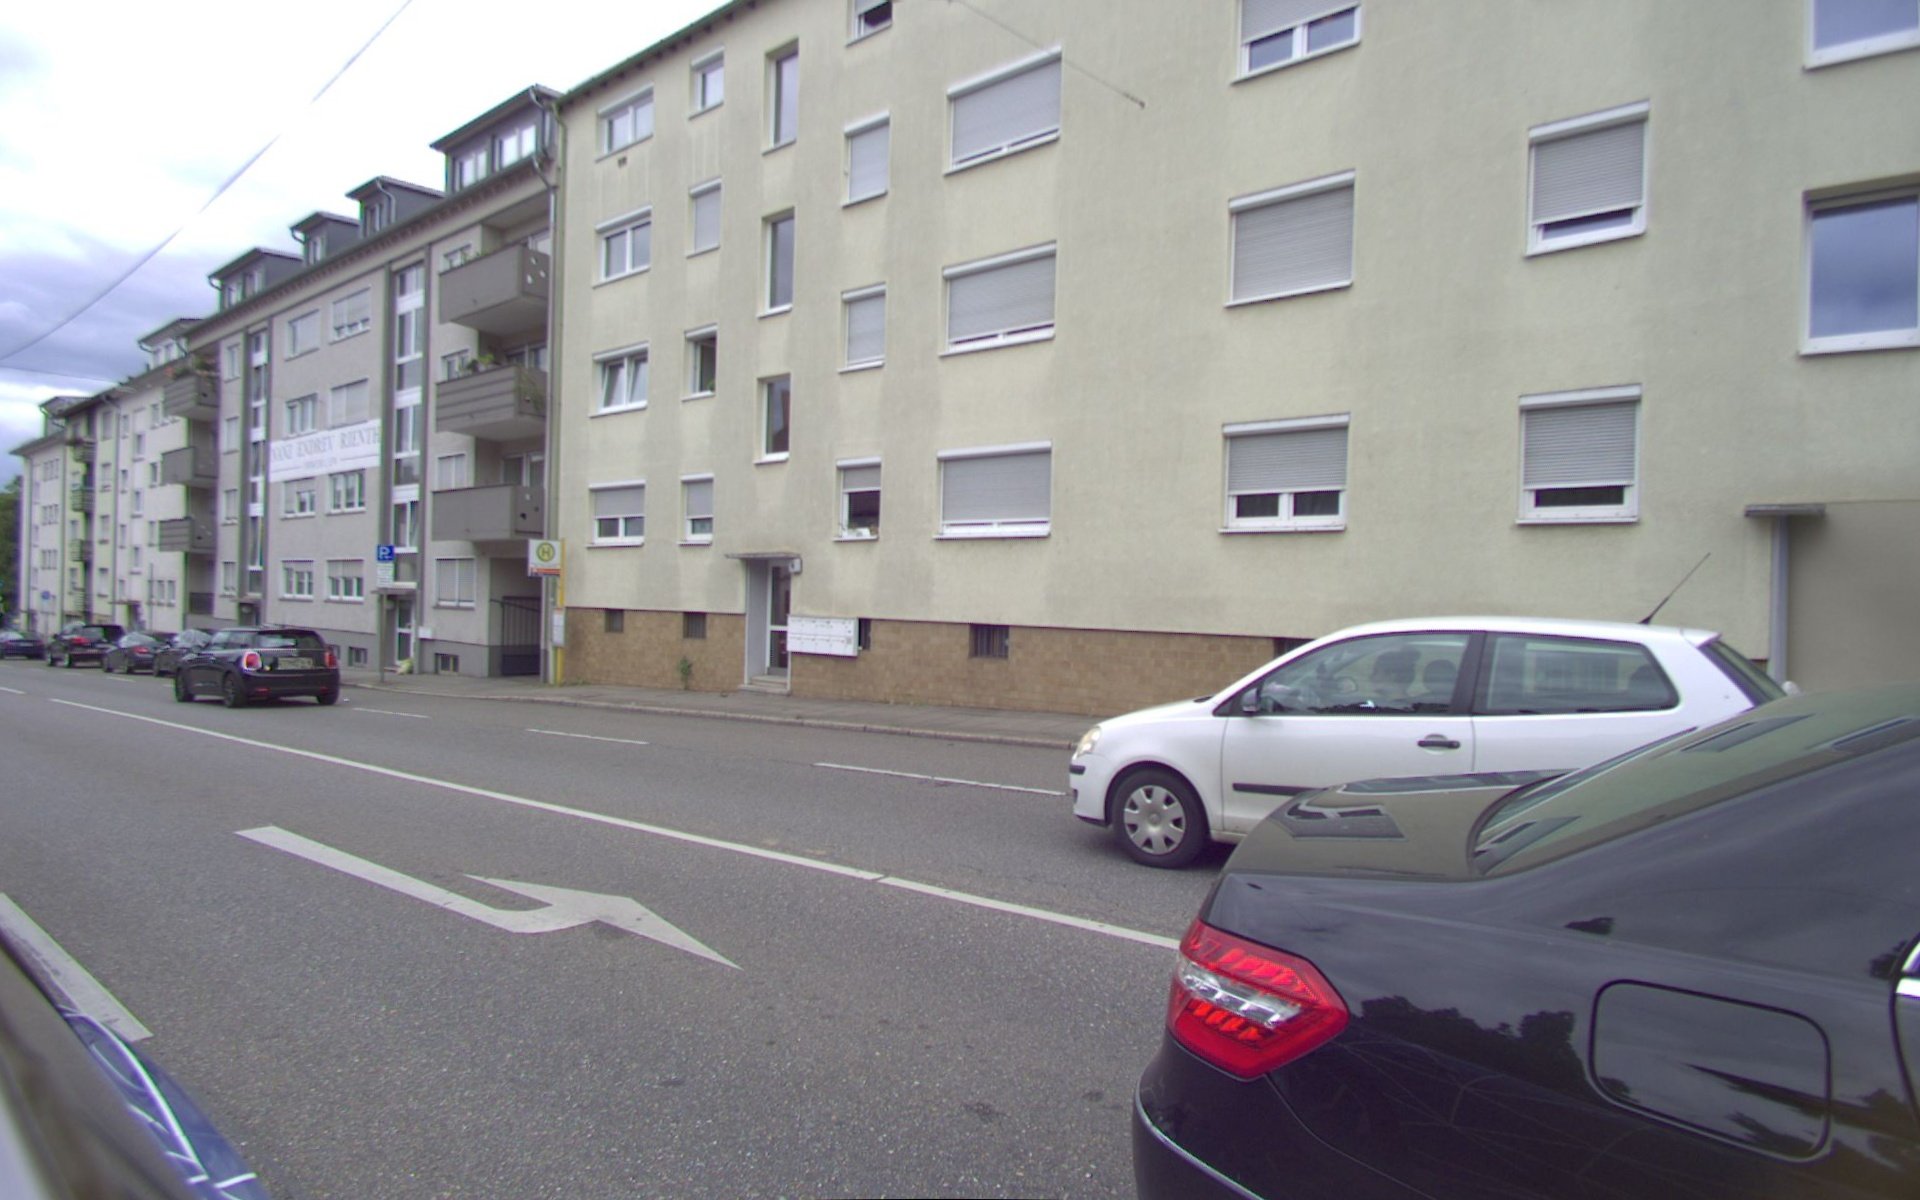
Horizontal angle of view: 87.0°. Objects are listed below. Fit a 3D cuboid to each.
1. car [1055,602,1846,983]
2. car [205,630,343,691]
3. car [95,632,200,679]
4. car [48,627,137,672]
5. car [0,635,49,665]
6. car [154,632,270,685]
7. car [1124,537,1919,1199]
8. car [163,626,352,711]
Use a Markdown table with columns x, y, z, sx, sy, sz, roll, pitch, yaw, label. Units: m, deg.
| x | y | z | sx | sy | sz | roll | pitch | yaw | label |
| --- | --- | --- | --- | --- | --- | --- | --- | --- | --- |
| 2.475 | 0.788 | 5.685 | 3.592 | 1.494 | 1.574 | -1 | -2 | 36 | car |
| -17.587 | 1.517 | 25.920 | 3.680 | 1.422 | 1.755 | -1 | -3 | 36 | car |
| -26.238 | 1.764 | 32.670 | 3.533 | 1.414 | 1.755 | -1 | -3 | 36 | car |
| -33.139 | 1.883 | 38.646 | 3.533 | 1.613 | 1.755 | -1 | -3 | 36 | car |
| -46.178 | 2.422 | 49.405 | 3.752 | 1.414 | 1.755 | -1 | -3 | 36 | car |
| -21.450 | 1.651 | 29.006 | 3.533 | 1.386 | 1.649 | -1 | -3 | 36 | car |
| 2.711 | 0.652 | 0.703 | 4.840 | 1.440 | 1.973 | -1 | -2 | 41 | car |
| -13.107 | 1.213 | 18.830 | 3.637 | 1.414 | 1.755 | -1 | -3 | 36 | car |
